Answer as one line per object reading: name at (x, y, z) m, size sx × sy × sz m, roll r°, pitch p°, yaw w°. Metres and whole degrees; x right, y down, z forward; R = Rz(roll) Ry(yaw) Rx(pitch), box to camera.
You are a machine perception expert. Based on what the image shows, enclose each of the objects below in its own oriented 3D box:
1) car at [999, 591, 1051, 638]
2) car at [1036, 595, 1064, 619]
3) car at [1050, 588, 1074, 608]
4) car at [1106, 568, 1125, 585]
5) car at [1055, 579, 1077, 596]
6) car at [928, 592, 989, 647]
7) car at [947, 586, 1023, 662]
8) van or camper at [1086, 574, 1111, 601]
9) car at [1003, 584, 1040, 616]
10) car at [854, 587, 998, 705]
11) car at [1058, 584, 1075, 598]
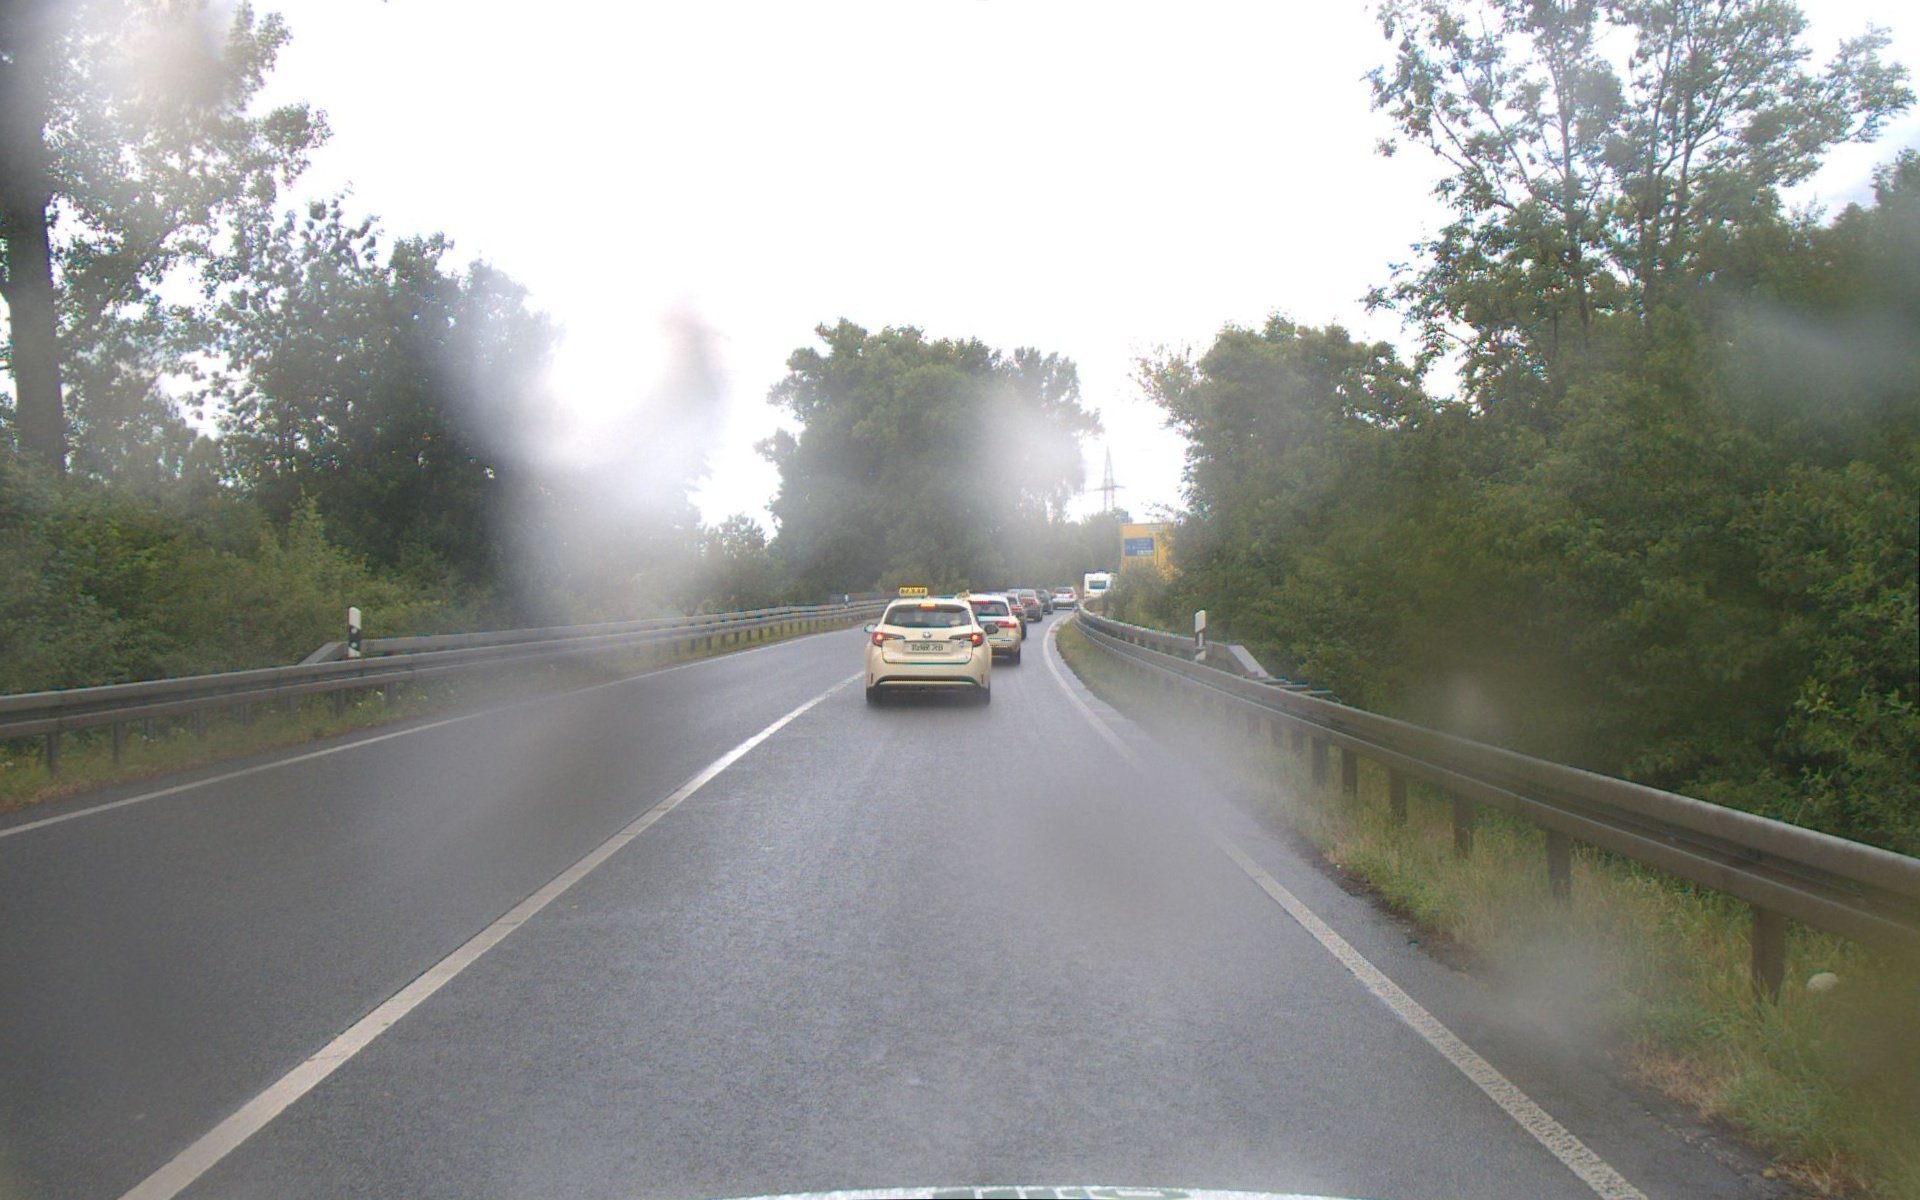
car at (2.092, 0.444, 54.242) m, size 1.631 × 1.489 × 3.477 m, roll 0°, pitch 0°, yaw 1°
car at (5.210, 0.409, 95.867) m, size 1.451 × 1.332 × 3.479 m, roll 0°, pitch 0°, yaw 6°
car at (6.970, -0.173, 112.662) m, size 1.451 × 1.332 × 3.479 m, roll 0°, pitch 0°, yaw 7°
car at (15.480, -2.288, 164.344) m, size 1.611 × 1.613 × 3.686 m, roll 0°, pitch 0°, yaw 9°
car at (8.018, -0.924, 124.964) m, size 1.343 × 1.222 × 3.319 m, roll 0°, pitch 0°, yaw 9°
car at (-0.011, 0.526, 46.079) m, size 1.474 × 1.462 × 3.357 m, roll 0°, pitch 0°, yaw 3°
car at (0.601, 0.498, 36.833) m, size 1.545 × 1.600 × 3.683 m, roll 0°, pitch 0°, yaw 3°
van or camper at (11.907, -1.066, 141.922) m, size 1.951 × 2.293 × 4.003 m, roll 0°, pitch 0°, yaw 7°
car at (2.908, 0.011, 77.481) m, size 1.625 × 1.434 × 3.906 m, roll 0°, pitch -1°, yaw 4°
car at (-0.406, 0.602, 24.037) m, size 1.866 × 1.564 × 4.162 m, roll 0°, pitch 0°, yaw 2°
car at (10.888, -0.904, 168.721) m, size 1.394 × 1.379 × 3.229 m, roll 0°, pitch 0°, yaw 8°
